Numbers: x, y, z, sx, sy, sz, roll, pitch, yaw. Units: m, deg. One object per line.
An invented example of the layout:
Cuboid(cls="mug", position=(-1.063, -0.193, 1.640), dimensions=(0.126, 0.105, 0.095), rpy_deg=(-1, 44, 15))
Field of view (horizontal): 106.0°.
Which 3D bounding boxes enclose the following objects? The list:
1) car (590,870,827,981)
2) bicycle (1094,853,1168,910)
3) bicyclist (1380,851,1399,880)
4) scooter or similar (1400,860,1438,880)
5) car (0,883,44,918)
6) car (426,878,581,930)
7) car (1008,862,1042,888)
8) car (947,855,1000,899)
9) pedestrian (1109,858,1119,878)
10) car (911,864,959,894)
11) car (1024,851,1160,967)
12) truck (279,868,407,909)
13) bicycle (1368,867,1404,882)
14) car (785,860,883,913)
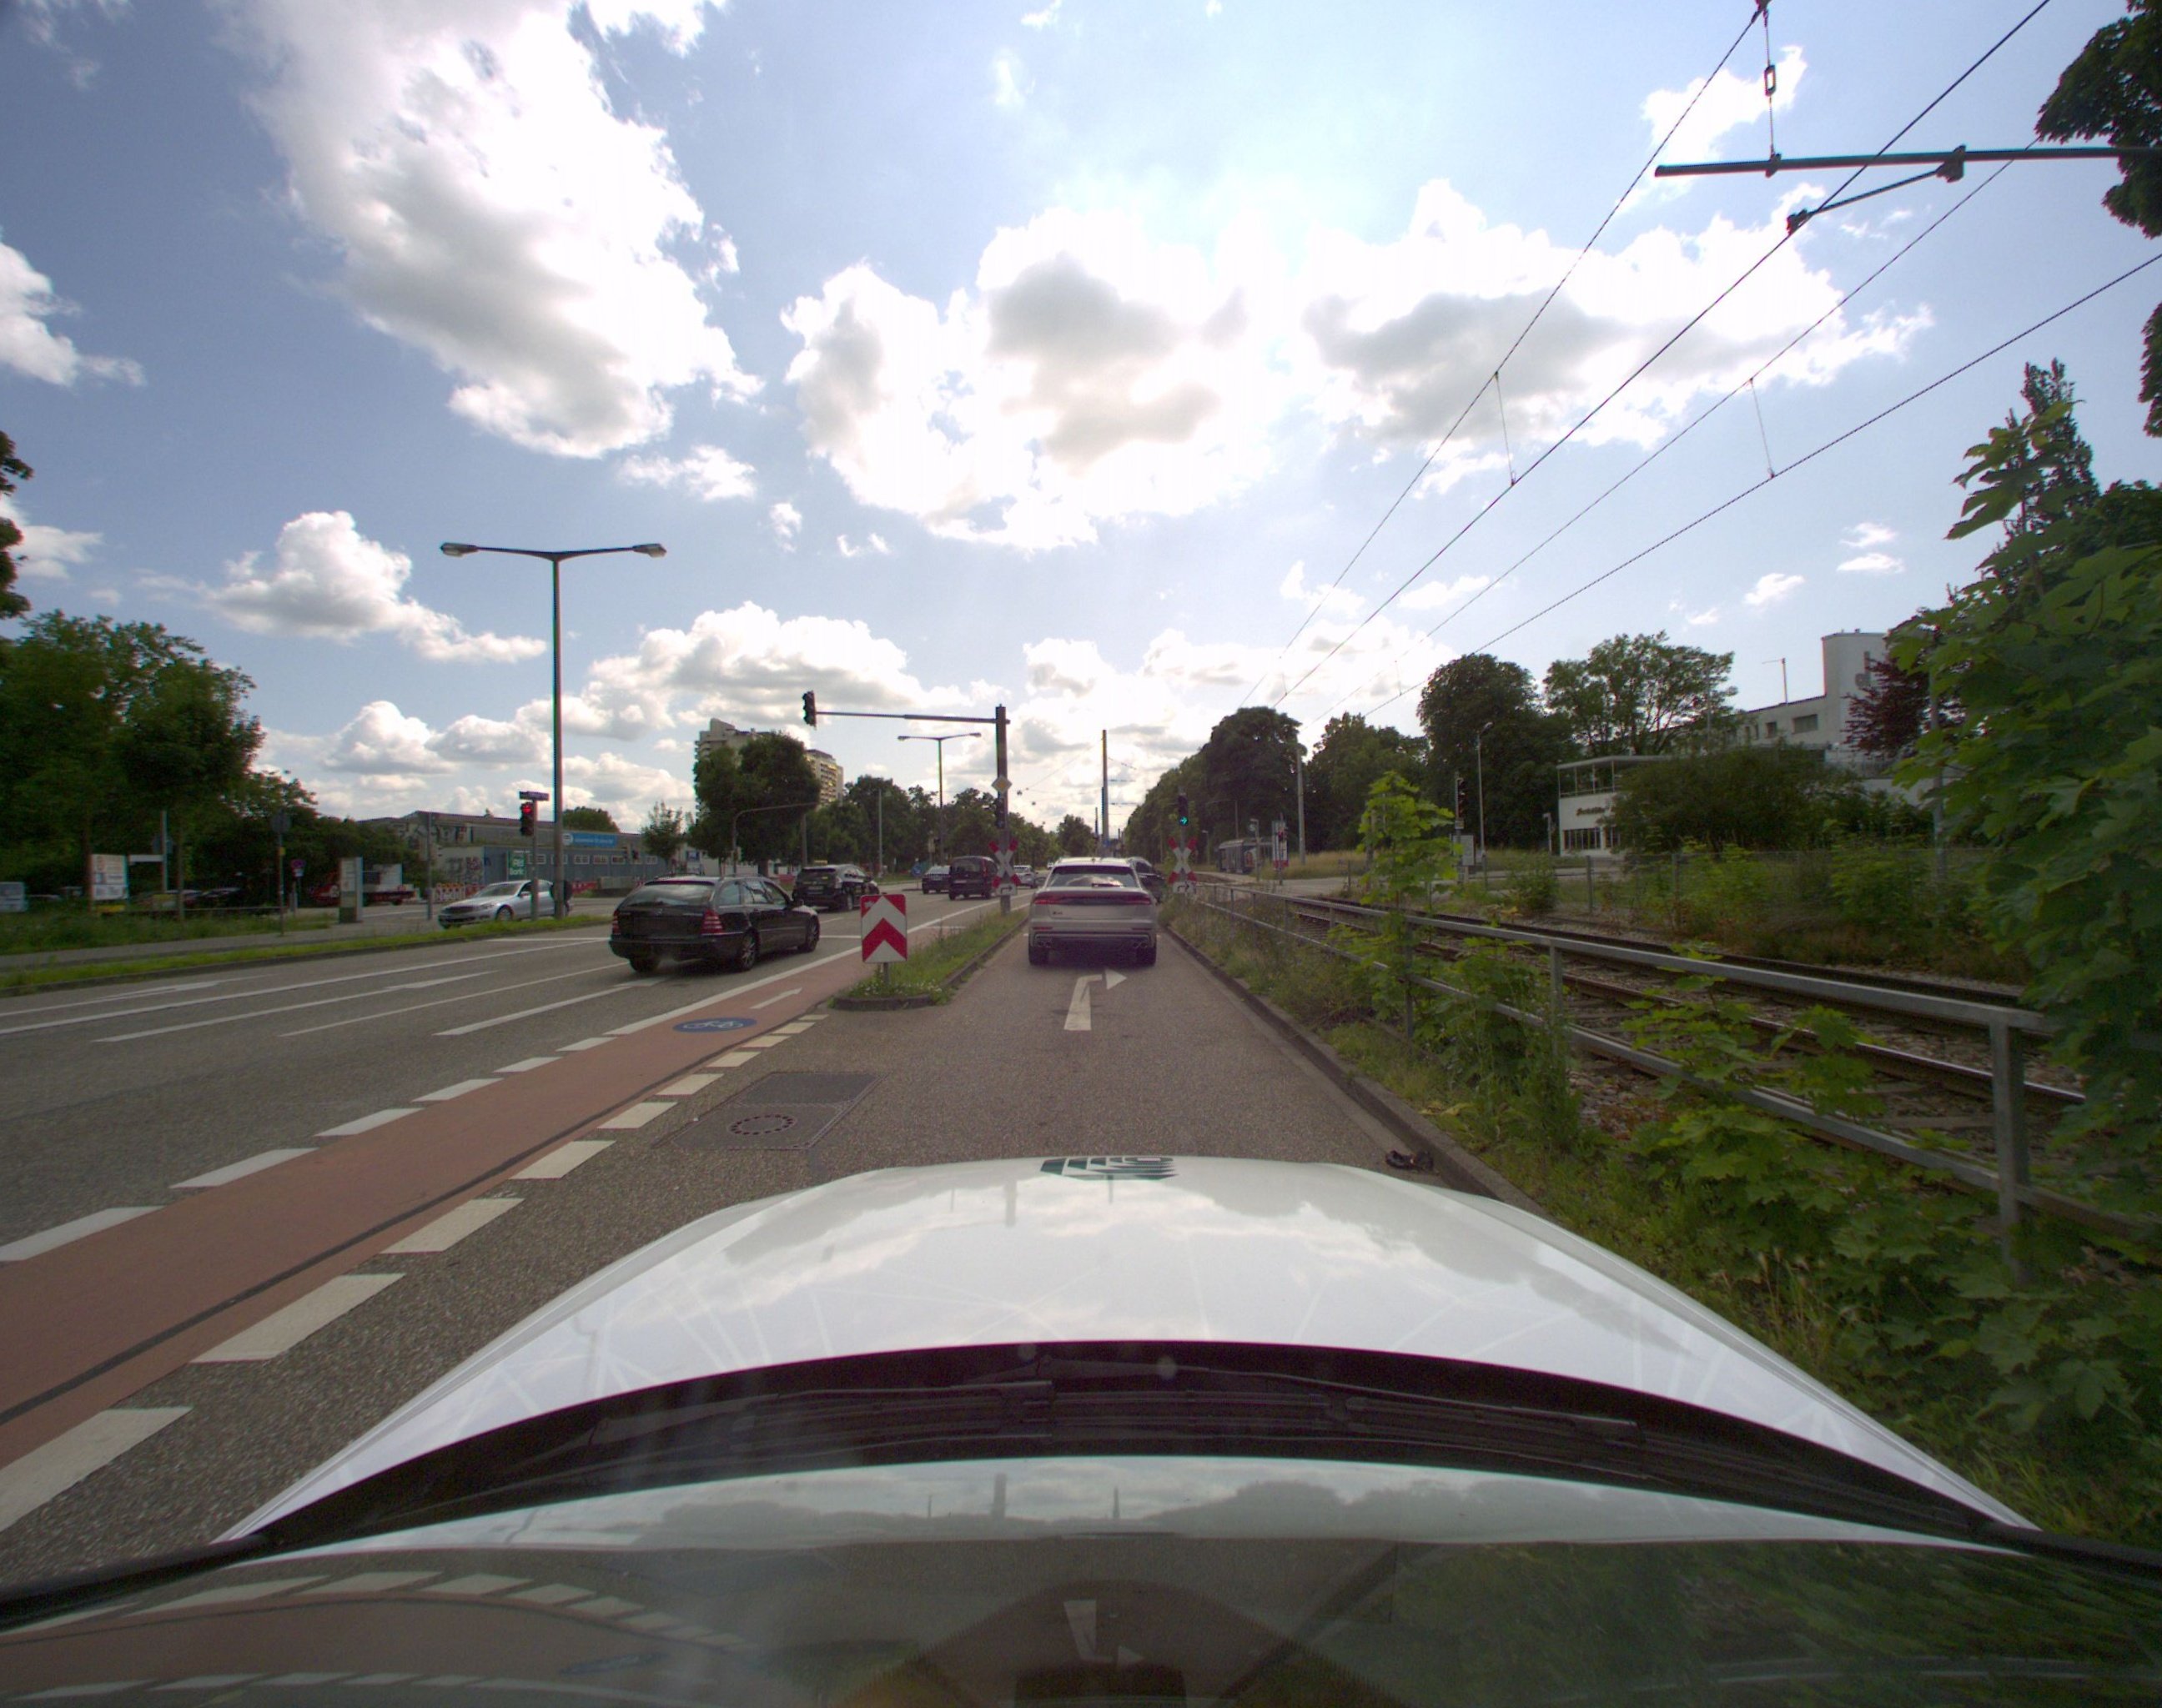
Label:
Cuboid(cls="car", position=(-5.681, 1.006, 13.134), dimensions=(1.749, 1.466, 4.433), rpy_deg=(0, -1, 0))
Cuboid(cls="bicycle", position=(1.762, 0.865, 27.137), dimensions=(1.981, 1.675, 4.219), rpy_deg=(-2, -1, 9))
Cuboid(cls="bicyclist", position=(16.466, 0.617, 43.468), dimensions=(0.835, 1.475, 0.456), rpy_deg=(-2, -1, 3))
Cuboid(cls="scooter or similar", position=(17.940, 0.849, 43.254), dimensions=(1.567, 0.979, 0.963), rpy_deg=(-2, -1, 4))
Cuboid(cls="car", position=(-58.305, 2.505, 43.855), dimensions=(3.578, 1.793, 1.946), rpy_deg=(-1, -1, 19))
Cuboid(cls="car", position=(-18.595, 1.555, 26.521), dimensions=(1.794, 1.432, 4.495), rpy_deg=(-2, -1, 0))
Cuboid(cls="car", position=(-3.468, 1.302, 51.377), dimensions=(1.779, 1.525, 4.301), rpy_deg=(0, -1, 1))
Cuboid(cls="car", position=(-4.638, 0.986, 35.597), dimensions=(1.754, 1.777, 3.908), rpy_deg=(0, -1, 0))
Cuboid(cls="pedestrian", position=(2.594, 1.066, 63.684), dimensions=(0.653, 1.514, 0.716), rpy_deg=(-2, -1, -8))
Cuboid(cls="car", position=(-7.677, 1.287, 43.103), dimensions=(1.858, 1.505, 3.998), rpy_deg=(0, -1, -1))
Cuboid(cls="car", position=(0.239, 0.848, 14.186), dimensions=(1.974, 1.684, 4.576), rpy_deg=(0, -1, 2))
Cuboid(cls="truck", position=(-47.343, 2.212, 52.266), dimensions=(6.906, 2.439, 3.054), rpy_deg=(-2, -1, 19))
Cuboid(cls="bicycle", position=(16.245, 1.080, 43.382), dimensions=(1.714, 0.765, 0.556), rpy_deg=(-1, -1, 3))
Cuboid(cls="car", position=(-8.329, 1.055, 27.874), dimensions=(1.778, 1.668, 4.344), rpy_deg=(0, -1, 4))
